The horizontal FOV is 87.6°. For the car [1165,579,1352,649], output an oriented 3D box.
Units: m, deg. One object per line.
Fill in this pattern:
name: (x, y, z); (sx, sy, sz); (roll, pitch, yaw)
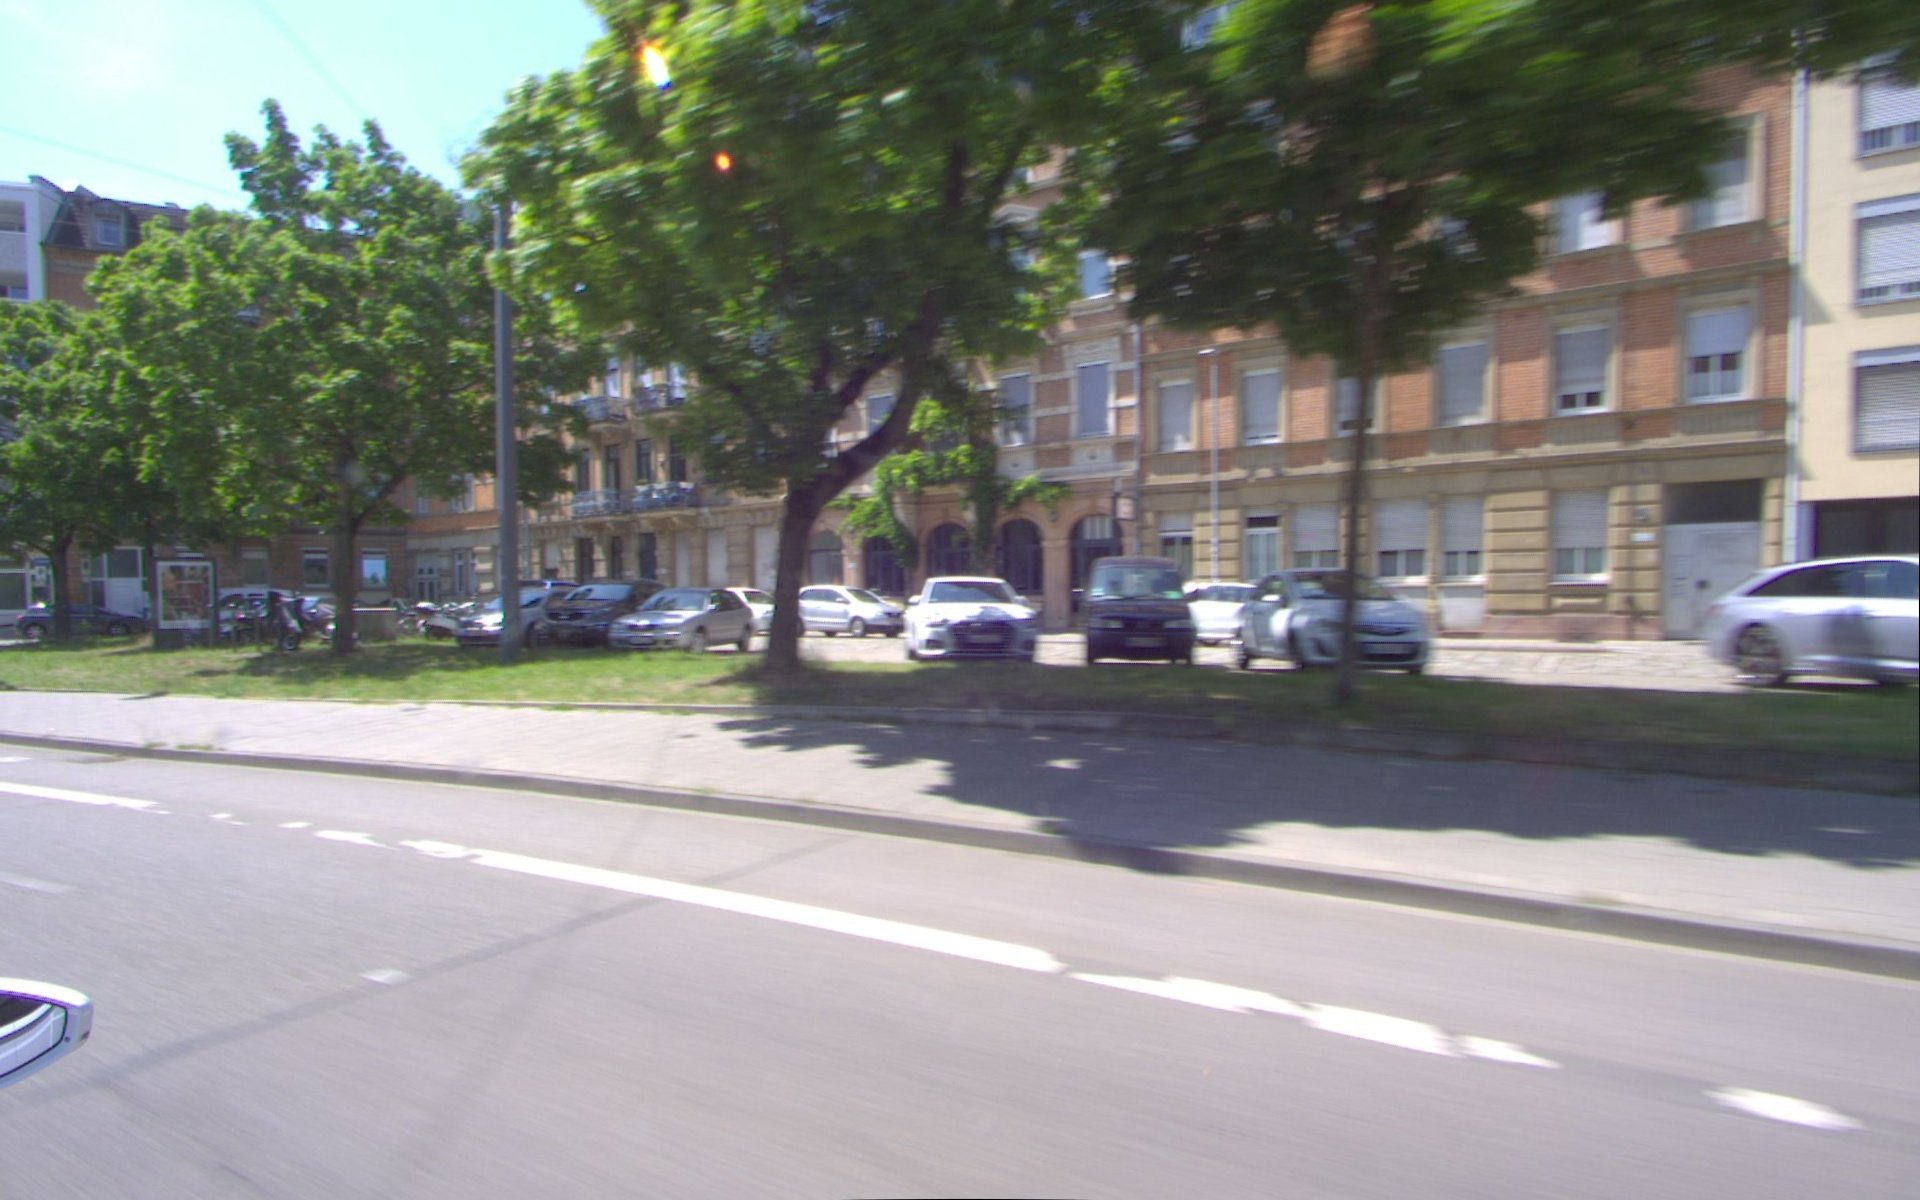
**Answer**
car: (6.627, 0.308, 22.333); (3.665, 1.439, 1.774); (0, 0, 35)

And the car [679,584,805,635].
car: (-7.001, 0.296, 31.990); (3.949, 1.550, 1.830); (0, 0, 37)

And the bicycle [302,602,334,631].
bicycle: (-18.665, 0.463, 29.128); (0.490, 0.816, 1.452); (0, 0, -20)

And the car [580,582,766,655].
car: (-5.665, 0.352, 20.321); (1.935, 1.330, 3.997); (0, 0, 13)

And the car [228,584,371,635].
car: (-20.202, 0.285, 30.834); (1.576, 1.451, 3.868); (0, 0, 6)

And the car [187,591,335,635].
car: (-22.720, 0.409, 32.747); (1.725, 1.349, 3.999); (0, 0, 8)

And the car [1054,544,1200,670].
car: (2.552, 0.113, 15.441); (1.934, 1.684, 3.998); (0, 0, 9)

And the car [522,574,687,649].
car: (-7.702, 0.249, 22.152); (1.763, 1.489, 4.091); (0, 0, 8)

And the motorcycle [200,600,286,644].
motorcycle: (-18.962, 0.569, 26.539); (0.520, 1.135, 1.820); (0, 0, 28)

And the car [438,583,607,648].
car: (-10.147, 0.350, 23.623); (1.552, 1.394, 4.347); (0, 0, 9)

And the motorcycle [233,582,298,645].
motorcycle: (-16.427, 0.302, 23.669); (1.832, 1.432, 0.672); (0, 3, 37)

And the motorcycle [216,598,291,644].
motorcycle: (-18.187, 0.537, 25.821); (0.471, 1.135, 1.516); (0, 0, 34)

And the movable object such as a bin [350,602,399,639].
movable object such as a bin: (-15.363, 0.519, 26.279); (0.979, 0.949, 0.694); (0, 0, -44)

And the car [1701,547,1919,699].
car: (10.094, 0.226, 9.924); (1.934, 1.446, 4.693); (0, 0, -1)

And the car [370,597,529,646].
car: (-15.597, 0.634, 30.707); (1.935, 1.394, 3.965); (0, 0, 43)

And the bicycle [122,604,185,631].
bicycle: (-29.281, 0.641, 36.385); (0.498, 0.948, 2.050); (0, 0, 5)

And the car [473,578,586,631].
car: (-16.596, 0.177, 38.551); (4.592, 1.929, 1.914); (0, 0, 36)

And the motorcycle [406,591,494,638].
motorcycle: (-14.231, 0.394, 27.968); (2.061, 1.252, 0.805); (0, 0, -40)

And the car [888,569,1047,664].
car: (-0.060, 0.261, 16.519); (2.108, 1.330, 4.786); (0, 0, -6)

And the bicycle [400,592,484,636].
bicycle: (-15.006, 0.404, 29.049); (0.625, 1.252, 2.065); (0, 0, 45)

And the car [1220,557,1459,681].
car: (4.898, 0.239, 13.554); (1.679, 1.418, 4.000); (0, 0, -1)

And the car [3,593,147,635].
car: (-35.886, 0.577, 40.727); (4.066, 1.646, 1.688); (0, 0, -26)

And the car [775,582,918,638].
car: (-3.374, 0.285, 29.549); (3.944, 1.550, 1.832); (0, 0, 33)

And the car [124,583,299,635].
car: (-24.989, 0.295, 33.680); (1.801, 1.622, 4.873); (0, 0, 8)
